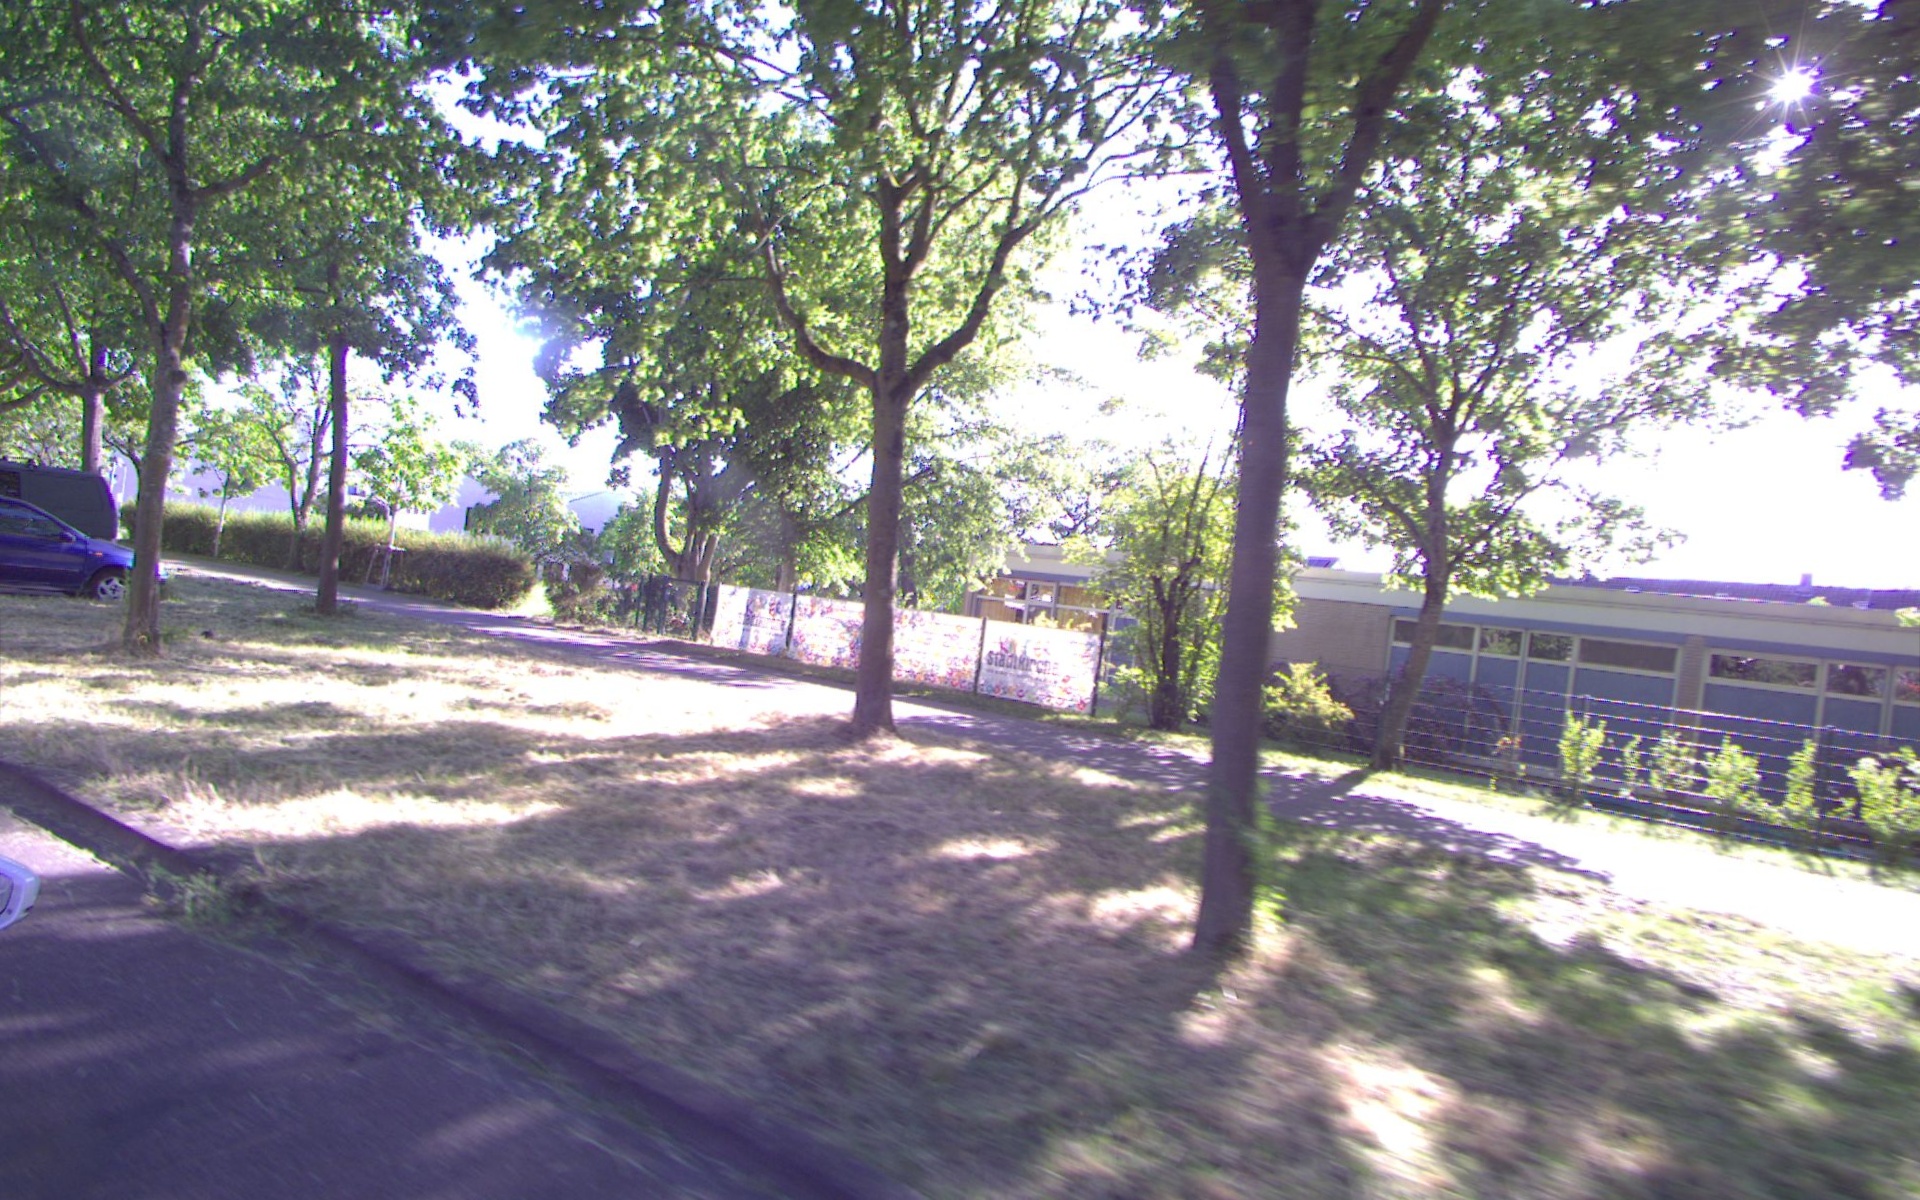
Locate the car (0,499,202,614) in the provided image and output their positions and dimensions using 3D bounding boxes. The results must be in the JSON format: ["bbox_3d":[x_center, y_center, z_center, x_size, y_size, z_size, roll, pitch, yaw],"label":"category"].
[{"bbox_3d":[-13.601,-0.717,14.393,1.711,1.420,3.992,7,-1,33],"label":"car"}]

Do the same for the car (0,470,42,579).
[{"bbox_3d":[-18.323,-1.515,16.784,1.769,1.860,4.013,7,0,31],"label":"car"}]

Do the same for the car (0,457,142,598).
[{"bbox_3d":[-16.096,-1.329,15.612,1.912,2.056,4.808,7,-1,33],"label":"car"}]
